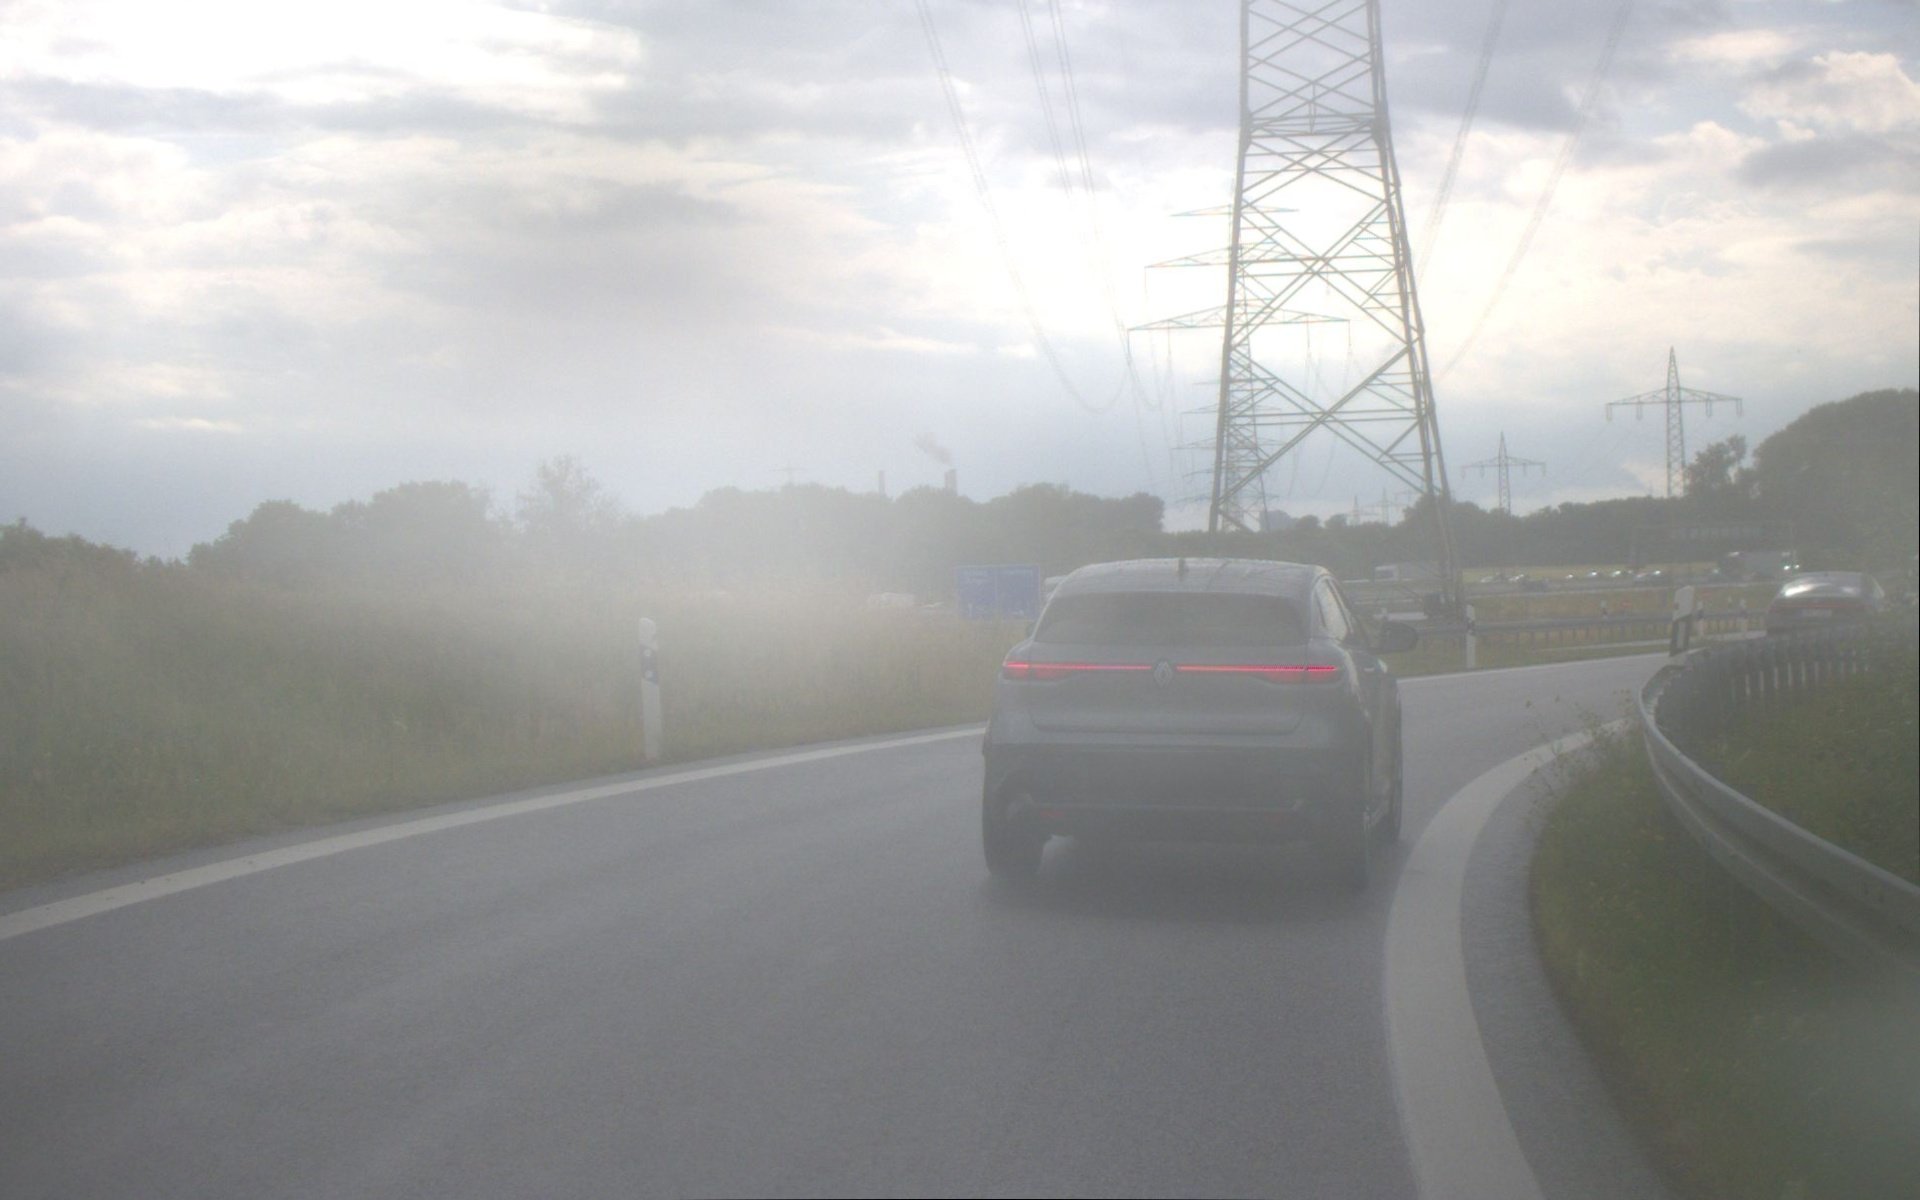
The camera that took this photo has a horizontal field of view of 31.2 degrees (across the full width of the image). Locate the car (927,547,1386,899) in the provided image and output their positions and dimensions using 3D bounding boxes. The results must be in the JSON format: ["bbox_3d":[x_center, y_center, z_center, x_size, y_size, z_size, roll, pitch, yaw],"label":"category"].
[{"bbox_3d":[1.130,0.517,17.532,1.994,1.561,4.148,1,1,8],"label":"car"}]

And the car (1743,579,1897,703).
[{"bbox_3d":[15.133,0.681,60.286,2.123,2.011,5.529,-2,0,19],"label":"car"}]
